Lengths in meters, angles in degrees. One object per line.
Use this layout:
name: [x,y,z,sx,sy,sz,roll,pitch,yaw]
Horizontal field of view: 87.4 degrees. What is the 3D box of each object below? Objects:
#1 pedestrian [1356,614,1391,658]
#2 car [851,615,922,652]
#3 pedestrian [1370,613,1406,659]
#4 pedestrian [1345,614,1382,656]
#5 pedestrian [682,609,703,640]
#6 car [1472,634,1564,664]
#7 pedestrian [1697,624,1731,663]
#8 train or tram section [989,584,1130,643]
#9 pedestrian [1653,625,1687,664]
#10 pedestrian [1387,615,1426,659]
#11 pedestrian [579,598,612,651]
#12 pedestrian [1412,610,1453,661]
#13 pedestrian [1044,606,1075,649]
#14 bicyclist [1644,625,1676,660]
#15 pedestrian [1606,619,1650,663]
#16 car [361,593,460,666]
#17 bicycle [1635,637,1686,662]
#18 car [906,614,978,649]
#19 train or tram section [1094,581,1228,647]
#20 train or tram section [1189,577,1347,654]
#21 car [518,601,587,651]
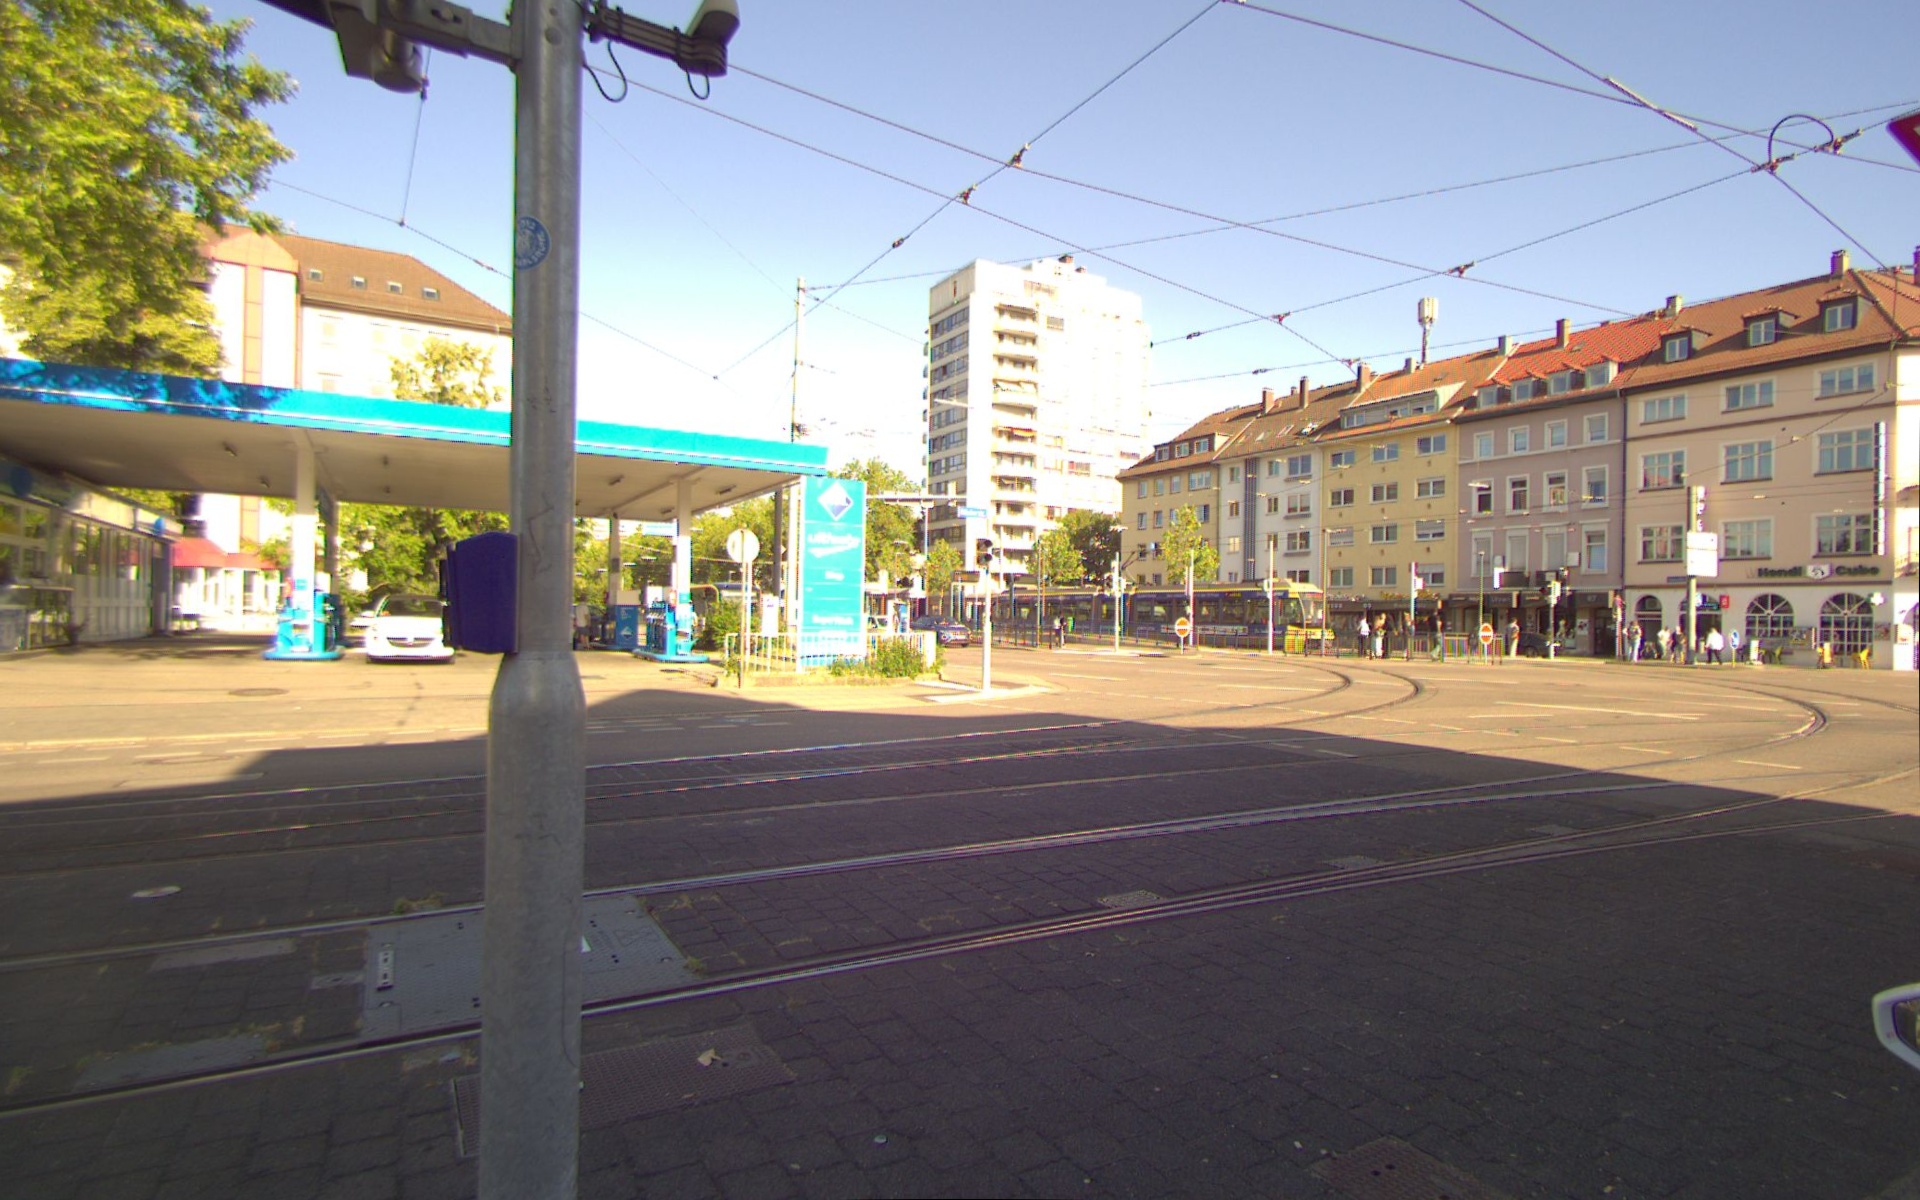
pedestrian: [15.549,1.339,37.752,0.922,1.619,1.010,1,-1,3]
car: [-3.480,1.527,46.735,1.863,1.601,3.971,1,-1,-28]
pedestrian: [15.602,1.303,36.633,0.922,1.619,1.010,1,-1,2]
pedestrian: [15.742,1.354,39.249,0.925,1.619,1.007,1,-1,-13]
pedestrian: [-13.854,1.267,52.046,0.907,1.595,0.959,1,-1,-22]
car: [30.424,2.638,54.904,1.977,1.472,3.966,1,-1,-31]
pedestrian: [35.669,2.039,47.519,0.989,1.798,0.942,1,-1,11]
train or tram section: [6.266,0.883,66.553,2.748,3.546,11.928,1,-1,-31]
pedestrian: [34.068,2.129,48.201,0.926,1.798,1.006,1,-1,-15]
pedestrian: [16.604,1.371,37.356,0.924,1.619,1.008,1,-1,-9]
pedestrian: [-11.709,0.775,32.234,0.802,1.647,1.155,1,-1,-29]
pedestrian: [16.881,1.255,35.935,0.924,1.798,1.008,1,-1,-9]
pedestrian: [4.388,1.210,44.383,1.087,1.870,1.168,1,-1,-12]
bicyclist: [36.440,2.189,52.288,0.740,1.798,1.159,1,-1,-31]
pedestrian: [26.642,1.616,40.066,1.091,1.707,1.075,1,-1,-30]
car: [-12.341,0.638,22.536,1.760,1.483,3.968,1,-1,-30]
bicycle: [36.293,2.552,52.077,0.623,1.197,2.081,1,-1,-29]
car: [-0.929,1.490,48.276,1.863,1.601,3.971,1,-1,-28]
train or tram section: [11.371,0.806,57.759,2.789,3.546,8.398,1,-1,-29]
train or tram section: [15.322,0.764,50.640,2.790,3.546,7.901,1,-1,-29]
car: [-13.454,0.836,33.014,1.725,1.431,4.061,5,-2,-26]
